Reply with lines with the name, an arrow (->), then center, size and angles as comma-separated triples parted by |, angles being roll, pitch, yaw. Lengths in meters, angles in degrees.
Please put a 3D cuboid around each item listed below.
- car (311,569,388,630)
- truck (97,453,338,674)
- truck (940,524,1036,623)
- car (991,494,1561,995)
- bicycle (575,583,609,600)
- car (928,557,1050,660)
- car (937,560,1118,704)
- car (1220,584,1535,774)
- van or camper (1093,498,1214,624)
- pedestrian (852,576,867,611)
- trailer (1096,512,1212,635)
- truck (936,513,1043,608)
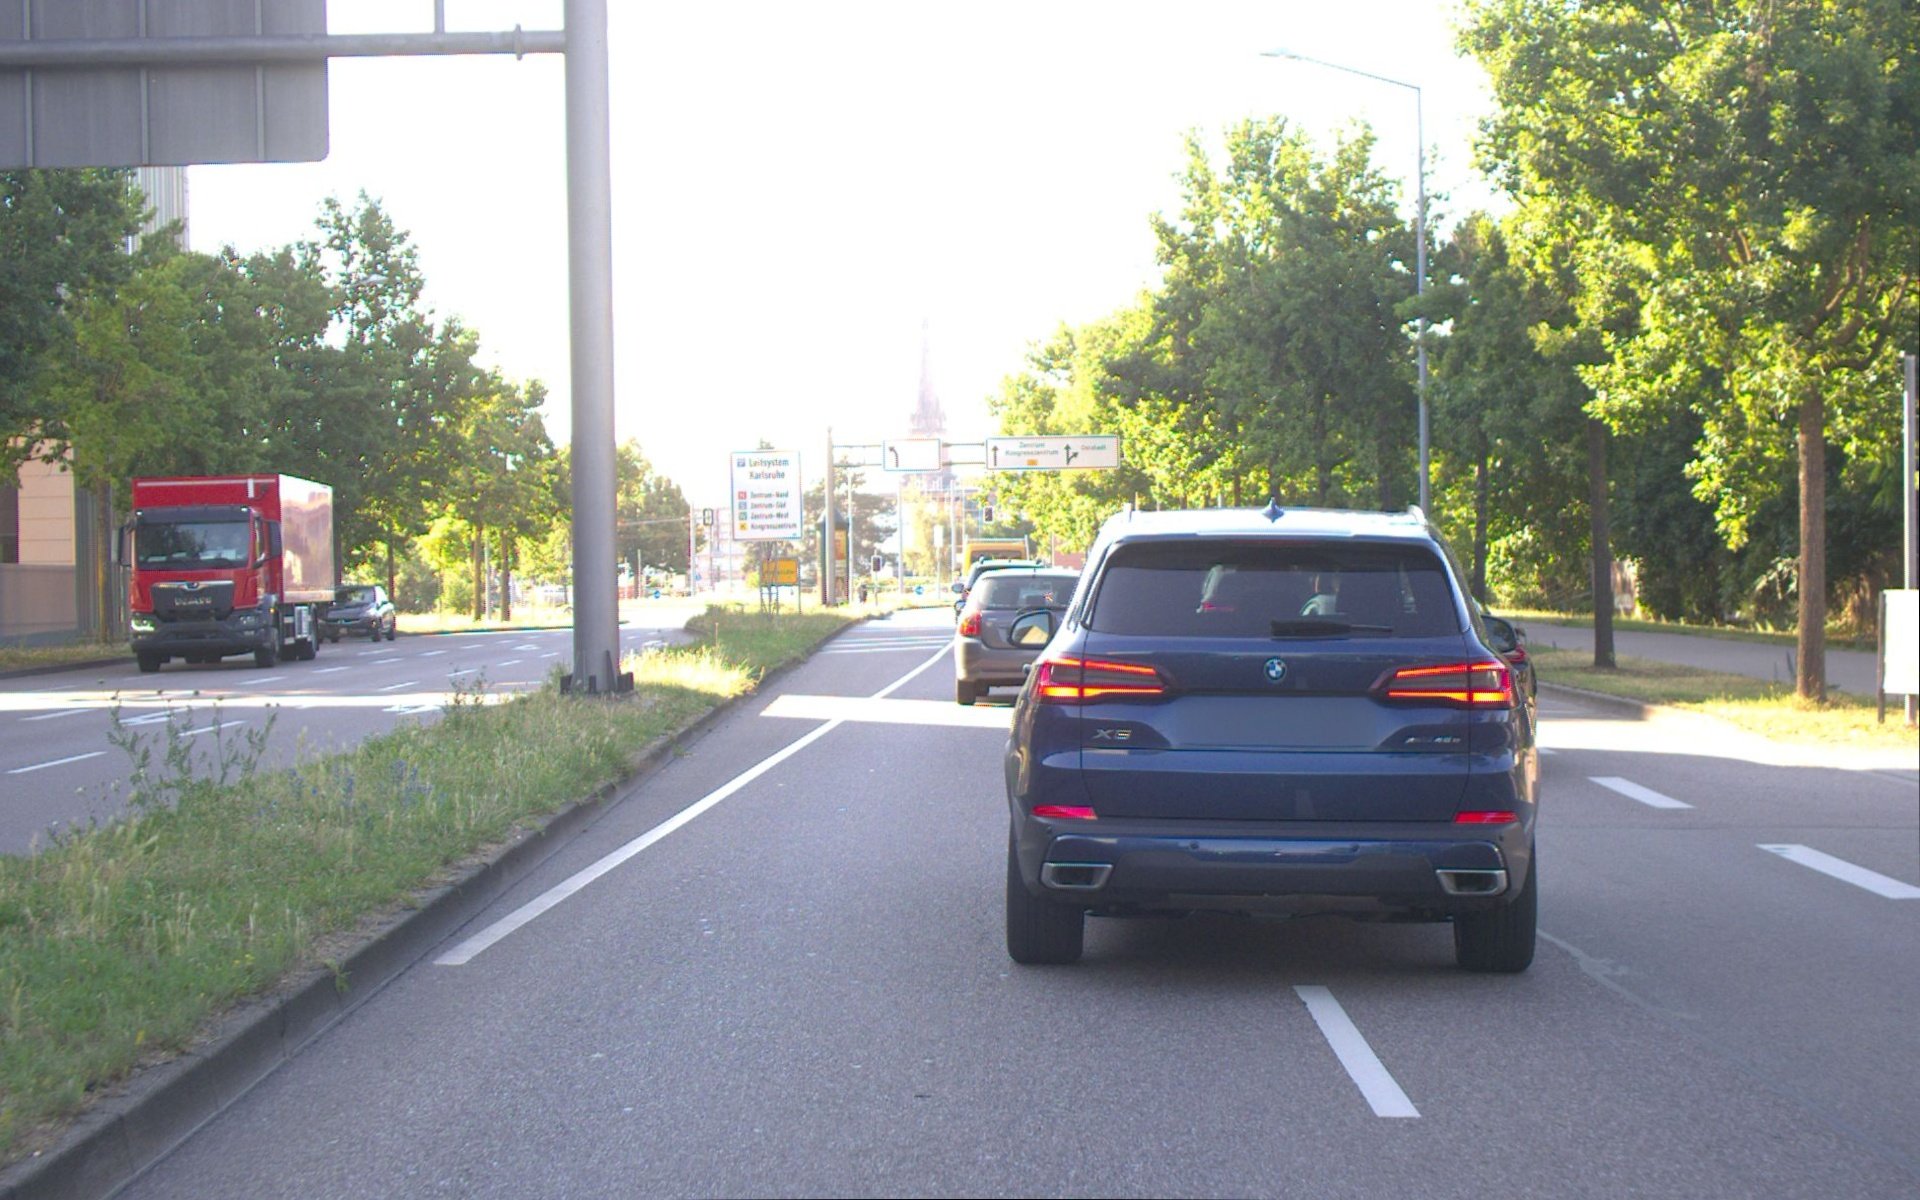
car -> -15.650, -0.026, 88.275 | 1.595, 1.507, 3.868 | -1, 1, -5
truck -> -13.773, -0.690, 64.620 | 2.998, 3.798, 10.091 | -1, 1, -4
truck -> 0.815, -0.747, 95.569 | 2.220, 2.642, 4.772 | -1, 0, 6
car -> 1.112, 0.501, 14.238 | 1.955, 1.721, 4.699 | 0, 0, 0
bicycle -> -21.229, -0.495, 198.434 | 1.910, 1.016, 0.504 | 0, 0, 15
car -> 0.530, 0.135, 58.564 | 1.905, 1.654, 4.000 | -1, 0, 3
car -> 0.694, 0.316, 37.892 | 1.747, 1.468, 3.820 | -1, 1, -2
car -> 3.178, 0.559, 27.036 | 1.854, 1.333, 4.625 | 0, 0, -1
van or camper -> 4.163, -0.846, 75.081 | 2.284, 2.620, 6.583 | 0, 1, 0
pedestrian -> -5.725, -0.360, 195.360 | 0.789, 2.007, 0.701 | -1, 1, -6
trailer -> 3.853, -0.528, 68.853 | 2.090, 2.392, 3.501 | 1, 0, 0
truck -> 0.772, -1.101, 96.208 | 2.580, 2.549, 6.252 | -1, 1, -3
